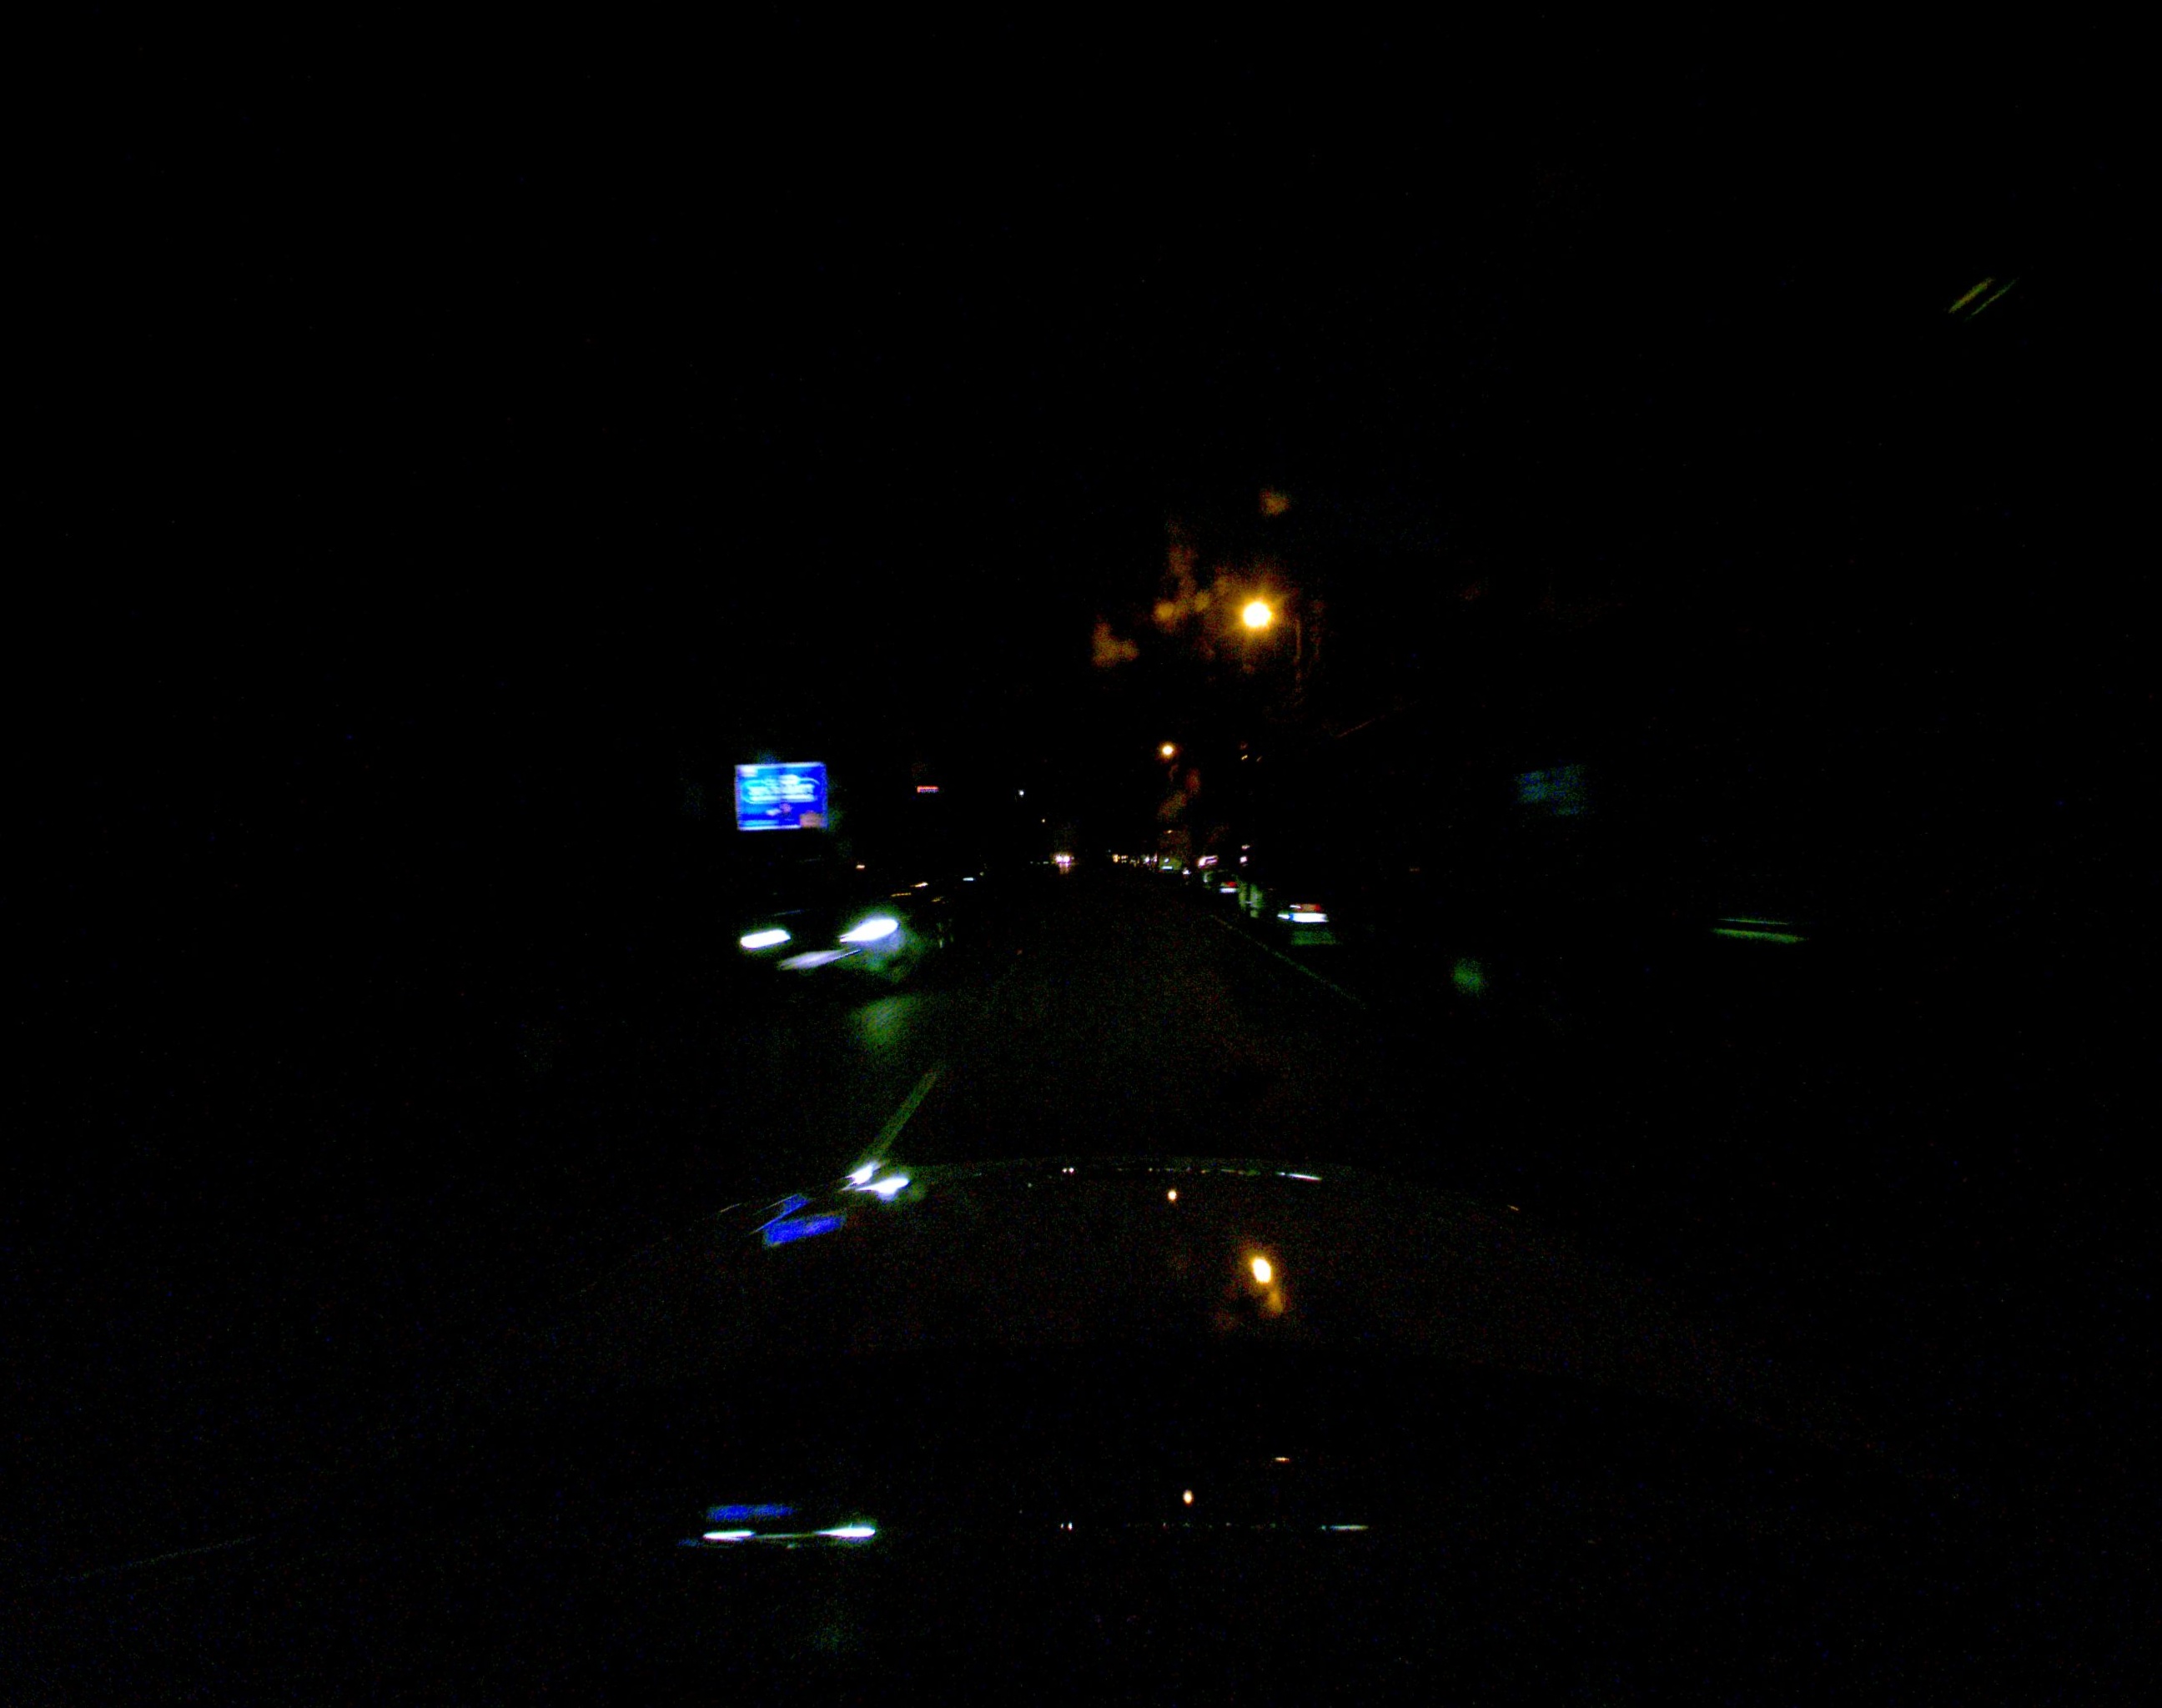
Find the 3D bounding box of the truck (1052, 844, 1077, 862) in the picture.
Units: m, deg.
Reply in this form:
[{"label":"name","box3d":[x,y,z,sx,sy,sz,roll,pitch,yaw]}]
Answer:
[{"label":"truck","box3d":[-3.702,-0.108,179.394,2.764,3.783,9.076,-2,0,-19]}]

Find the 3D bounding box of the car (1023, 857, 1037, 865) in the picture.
[{"label":"car","box3d":[-10.036,1.377,159.097,1.818,1.371,4.336,-2,0,-16]}]

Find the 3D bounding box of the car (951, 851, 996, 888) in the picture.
[{"label":"car","box3d":[-5.857,0.831,44.997,1.807,1.849,4.414,-2,0,0]}]

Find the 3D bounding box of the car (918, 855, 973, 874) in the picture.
[{"label":"car","box3d":[-11.477,0.893,69.048,4.094,1.432,1.906,2,1,19]}]

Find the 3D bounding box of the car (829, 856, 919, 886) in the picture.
[{"label":"car","box3d":[-11.184,0.887,44.122,4.426,1.440,1.777,-2,0,-28]}]

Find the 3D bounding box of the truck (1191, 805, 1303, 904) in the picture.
[{"label":"truck","box3d":[4.907,0.010,25.135,2.391,2.594,6.602,-2,0,3]}]

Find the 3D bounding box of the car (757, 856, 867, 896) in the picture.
[{"label":"car","box3d":[-11.858,0.938,35.930,4.420,1.560,1.984,-2,0,-23]}]

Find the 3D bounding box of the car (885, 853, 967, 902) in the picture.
[{"label":"car","box3d":[-5.963,0.866,31.941,1.939,1.688,4.820,-2,0,3]}]

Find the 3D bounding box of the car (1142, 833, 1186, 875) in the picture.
[{"label":"car","box3d":[5.352,0.003,53.429,2.122,2.571,5.906,1,0,-1]}]

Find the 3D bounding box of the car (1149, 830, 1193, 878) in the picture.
[{"label":"car","box3d":[5.055,-0.016,46.632,1.986,2.571,6.016,1,0,1]}]

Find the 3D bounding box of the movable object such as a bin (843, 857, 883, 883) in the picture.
[{"label":"movable object such as a bin","box3d":[-12.967,0.933,48.436,1.850,1.500,1.610,-2,0,1]}]

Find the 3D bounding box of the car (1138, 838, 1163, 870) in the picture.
[{"label":"car","box3d":[5.709,-0.025,67.324,1.985,2.526,5.915,1,0,4]}]

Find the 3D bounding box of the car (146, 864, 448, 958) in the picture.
[{"label":"car","box3d":[-15.856,1.109,16.626,4.381,1.653,1.924,-2,0,3]}]

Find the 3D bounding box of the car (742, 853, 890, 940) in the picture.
[{"label":"car","box3d":[-6.215,0.905,19.792,1.797,1.798,4.880,-2,0,2]}]

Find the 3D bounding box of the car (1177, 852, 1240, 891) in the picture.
[{"label":"car","box3d":[4.941,0.630,32.186,1.823,1.407,4.910,1,0,1]}]

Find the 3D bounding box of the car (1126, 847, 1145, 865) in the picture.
[{"label":"car","box3d":[6.605,0.251,99.601,1.986,2.013,4.913,-3,0,1]}]

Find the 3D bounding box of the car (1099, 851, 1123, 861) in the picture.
[{"label":"car","box3d":[6.034,0.467,162.272,4.342,1.646,1.879,-5,1,-21]}]

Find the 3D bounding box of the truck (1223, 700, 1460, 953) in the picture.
[{"label":"truck","box3d":[4.362,-0.401,14.847,2.755,3.763,5.230,-1,0,2]}]

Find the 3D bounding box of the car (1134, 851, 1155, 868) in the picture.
[{"label":"car","box3d":[6.139,0.512,79.325,1.938,1.489,5.015,-2,0,4]}]

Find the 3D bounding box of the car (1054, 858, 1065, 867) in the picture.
[{"label":"car","box3d":[-3.821,1.556,146.836,1.851,1.420,4.000,-2,0,1]}]

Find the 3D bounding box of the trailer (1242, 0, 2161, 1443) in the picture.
[{"label":"trailer","box3d":[4.154,-0.449,7.846,2.755,3.763,14.662,-1,0,2]}]

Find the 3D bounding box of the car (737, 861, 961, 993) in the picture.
[{"label":"car","box3d":[-3.063,0.879,11.811,1.813,1.437,4.400,-2,0,2]}]

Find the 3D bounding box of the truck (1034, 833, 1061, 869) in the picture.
[{"label":"truck","box3d":[-3.960,-0.365,97.203,2.738,4.034,9.557,-2,0,0]}]

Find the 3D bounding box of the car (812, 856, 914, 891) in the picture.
[{"label":"car","box3d":[-11.084,0.977,41.464,4.683,1.551,1.982,-2,0,-28]}]
